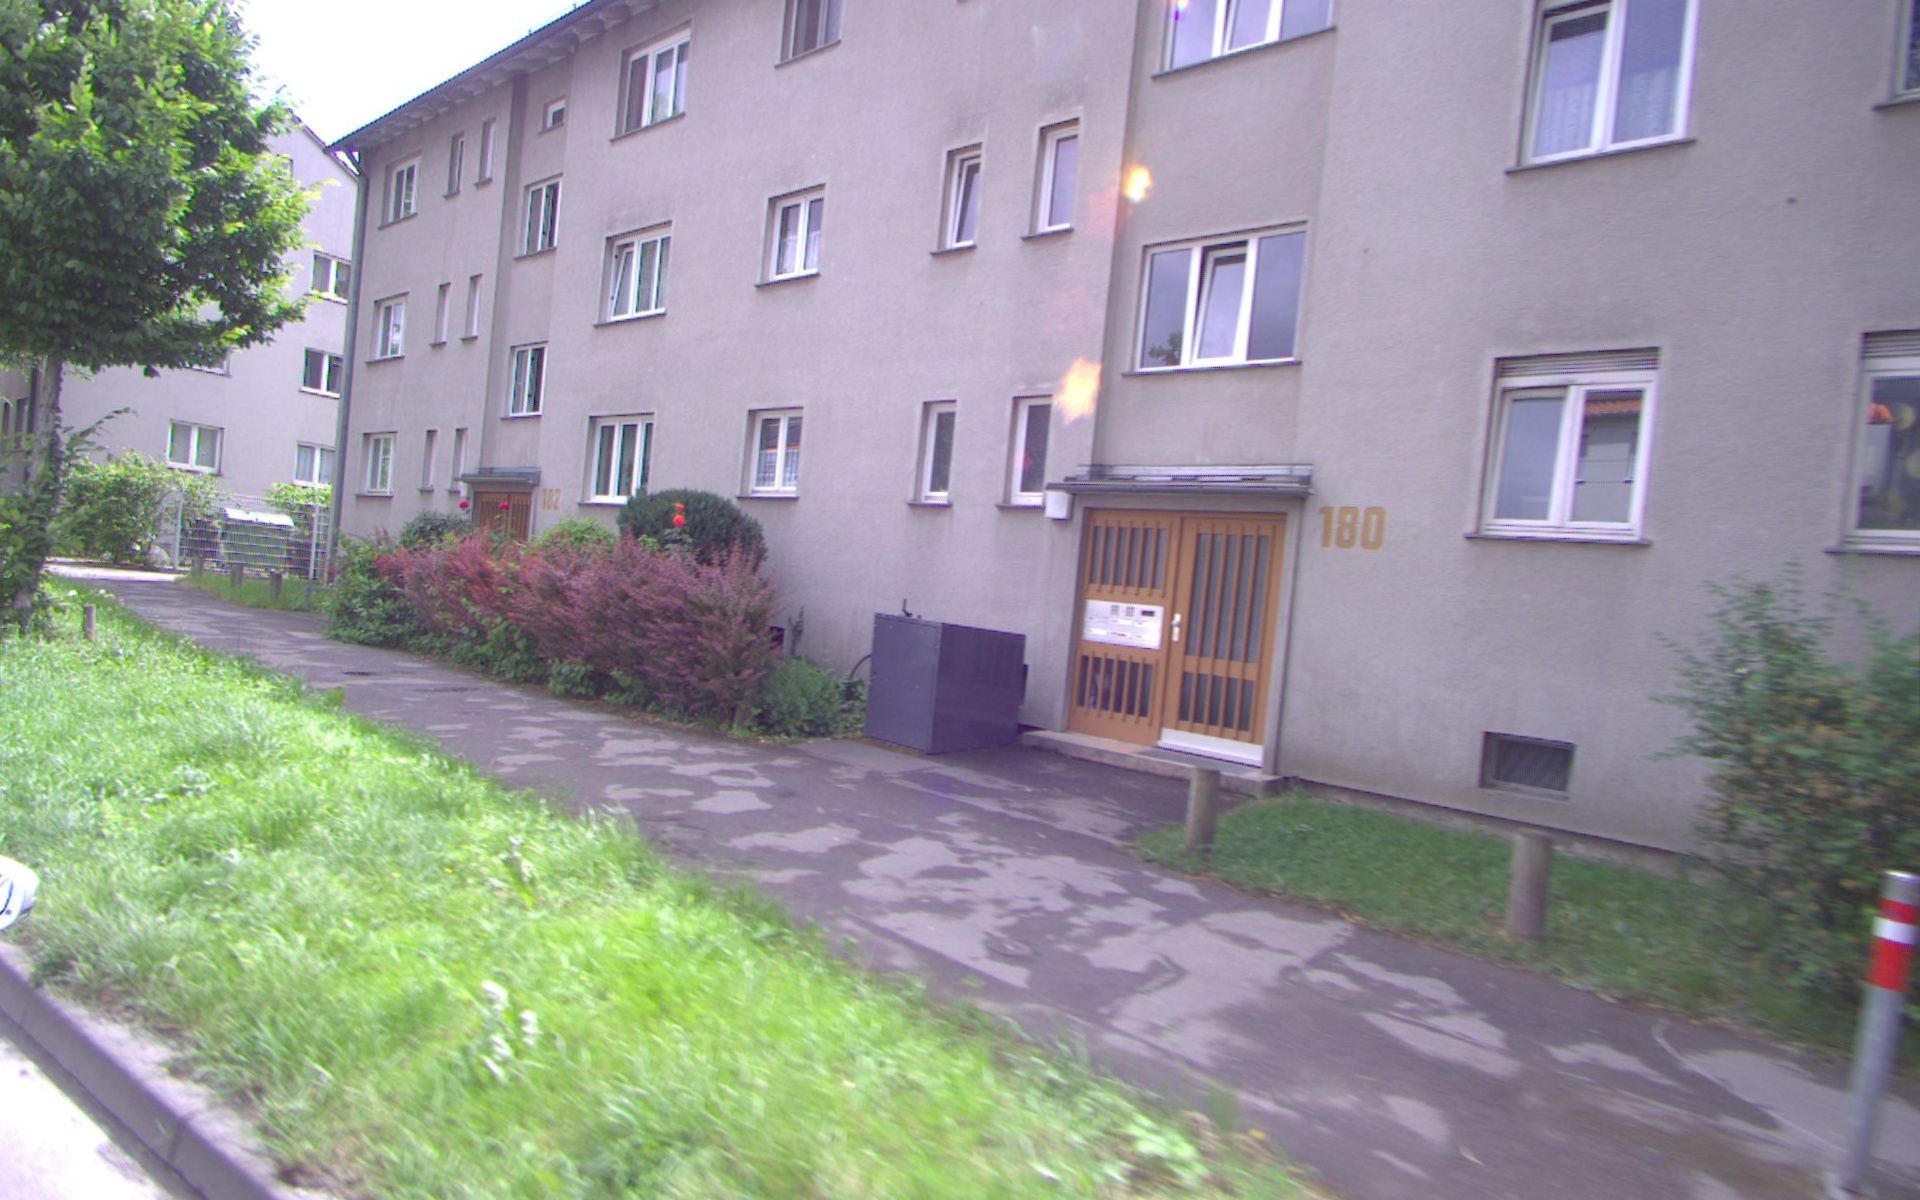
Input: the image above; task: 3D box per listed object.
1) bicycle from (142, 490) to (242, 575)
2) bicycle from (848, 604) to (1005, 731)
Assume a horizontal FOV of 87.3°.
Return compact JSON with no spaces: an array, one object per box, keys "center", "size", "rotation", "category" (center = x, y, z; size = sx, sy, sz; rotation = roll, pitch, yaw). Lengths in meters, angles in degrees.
[{"center":[-16.396,-1.433,21.496],"size":[1.055,1.594,1.347],"rotation":[7,1,35],"category":"bicycle"},{"center":[-0.356,0.642,10.009],"size":[1.548,1.046,0.478],"rotation":[7,2,40],"category":"bicycle"}]
